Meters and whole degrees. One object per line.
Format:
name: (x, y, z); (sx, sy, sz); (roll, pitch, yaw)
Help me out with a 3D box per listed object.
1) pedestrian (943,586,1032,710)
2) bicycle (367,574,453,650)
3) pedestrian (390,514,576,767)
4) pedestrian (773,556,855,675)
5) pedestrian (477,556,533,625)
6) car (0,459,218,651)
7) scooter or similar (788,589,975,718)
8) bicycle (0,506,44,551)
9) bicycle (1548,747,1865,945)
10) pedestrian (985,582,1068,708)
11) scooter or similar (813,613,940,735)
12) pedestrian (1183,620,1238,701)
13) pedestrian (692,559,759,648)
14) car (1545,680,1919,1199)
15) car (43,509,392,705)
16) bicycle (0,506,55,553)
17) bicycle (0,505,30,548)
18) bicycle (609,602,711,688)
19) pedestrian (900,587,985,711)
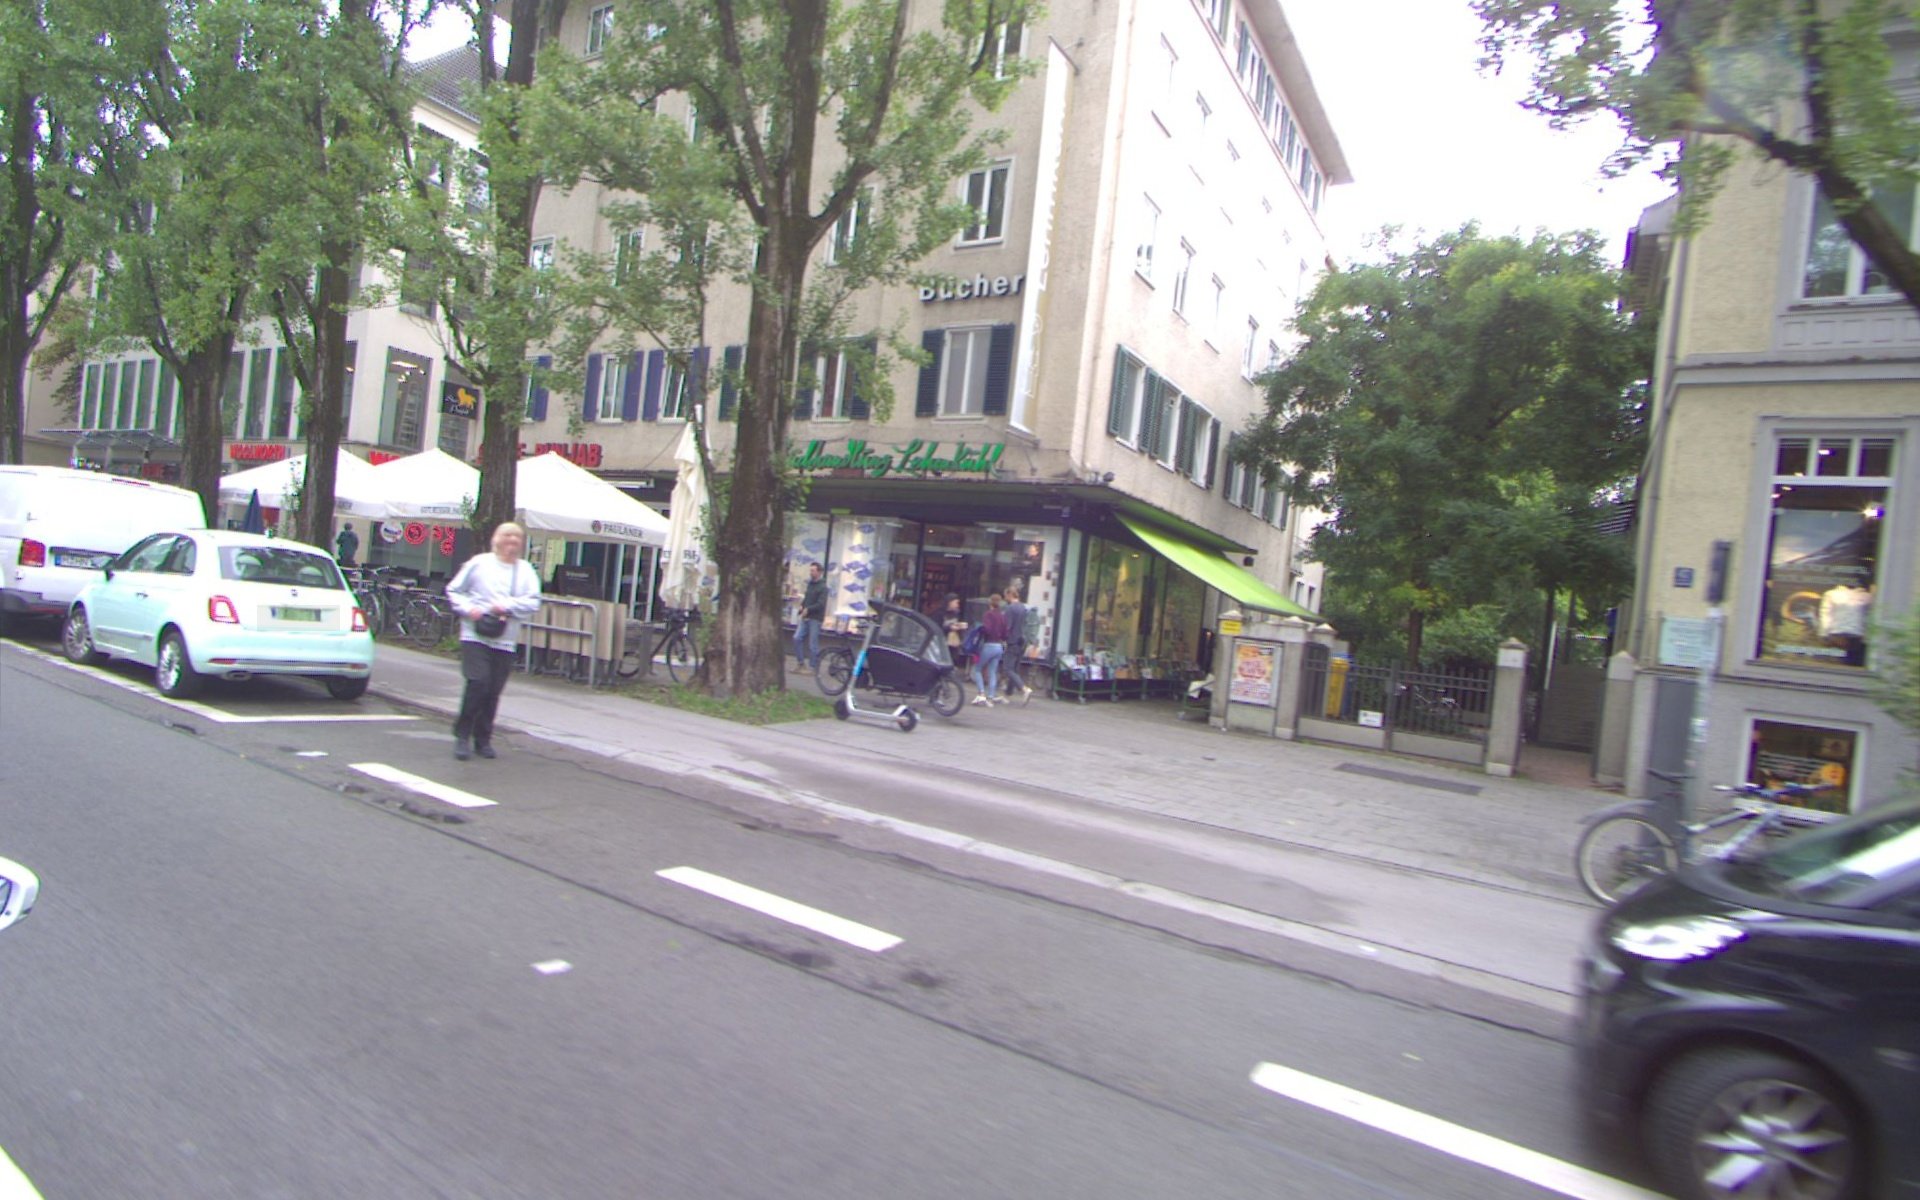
pedestrian: (0.411, 0.714, 14.955); (0.862, 1.698, 0.798); (7, 0, 32)
bicycle: (-8.318, 0.171, 15.202); (1.429, 1.009, 0.349); (6, 2, 28)
pedestrian: (-3.699, 0.302, 7.825); (0.856, 1.795, 0.828); (7, 0, 33)
pedestrian: (-2.460, 0.270, 17.015); (0.735, 1.888, 0.957); (7, 0, 33)
pedestrian: (-9.584, -0.188, 21.188); (0.787, 1.340, 0.639); (7, 1, 31)
car: (-11.529, -0.651, 12.657); (4.652, 1.969, 1.790); (6, -1, 32)
scooter or similar: (-1.102, 0.689, 13.678); (2.451, 1.394, 0.637); (8, 2, 28)
bicycle: (-28.552, -2.194, 29.584); (0.616, 1.219, 2.230); (7, 0, 30)
bicycle: (4.948, 1.617, 6.738); (1.597, 1.006, 0.510); (7, 0, 4)
pedestrian: (1.024, 0.674, 15.537); (0.862, 1.820, 0.771); (7, 3, 32)
scooter or similar: (-0.985, 0.836, 11.718); (1.419, 1.231, 0.327); (6, 2, 28)
pedestrian: (5.540, 1.333, 22.235); (0.788, 1.668, 0.828); (7, 0, 33)
pedestrian: (-4.786, 0.078, 20.535); (0.862, 1.698, 0.799); (7, 0, 30)
car: (3.466, 1.220, 3.133); (2.684, 1.536, 1.595); (7, -1, 32)
car: (-7.425, 0.041, 9.993); (3.465, 1.510, 1.543); (6, -1, 33)
bicycle: (-27.651, -2.096, 28.970); (0.616, 1.219, 2.230); (7, 0, 30)
bicycle: (-29.470, -2.299, 30.116); (0.616, 1.219, 2.230); (7, 0, 30)
bicycle: (-4.092, 0.599, 13.701); (1.429, 1.009, 0.349); (6, 2, 28)
pedestrian: (-0.248, 0.673, 14.204); (0.855, 1.627, 0.617); (7, 2, 29)
